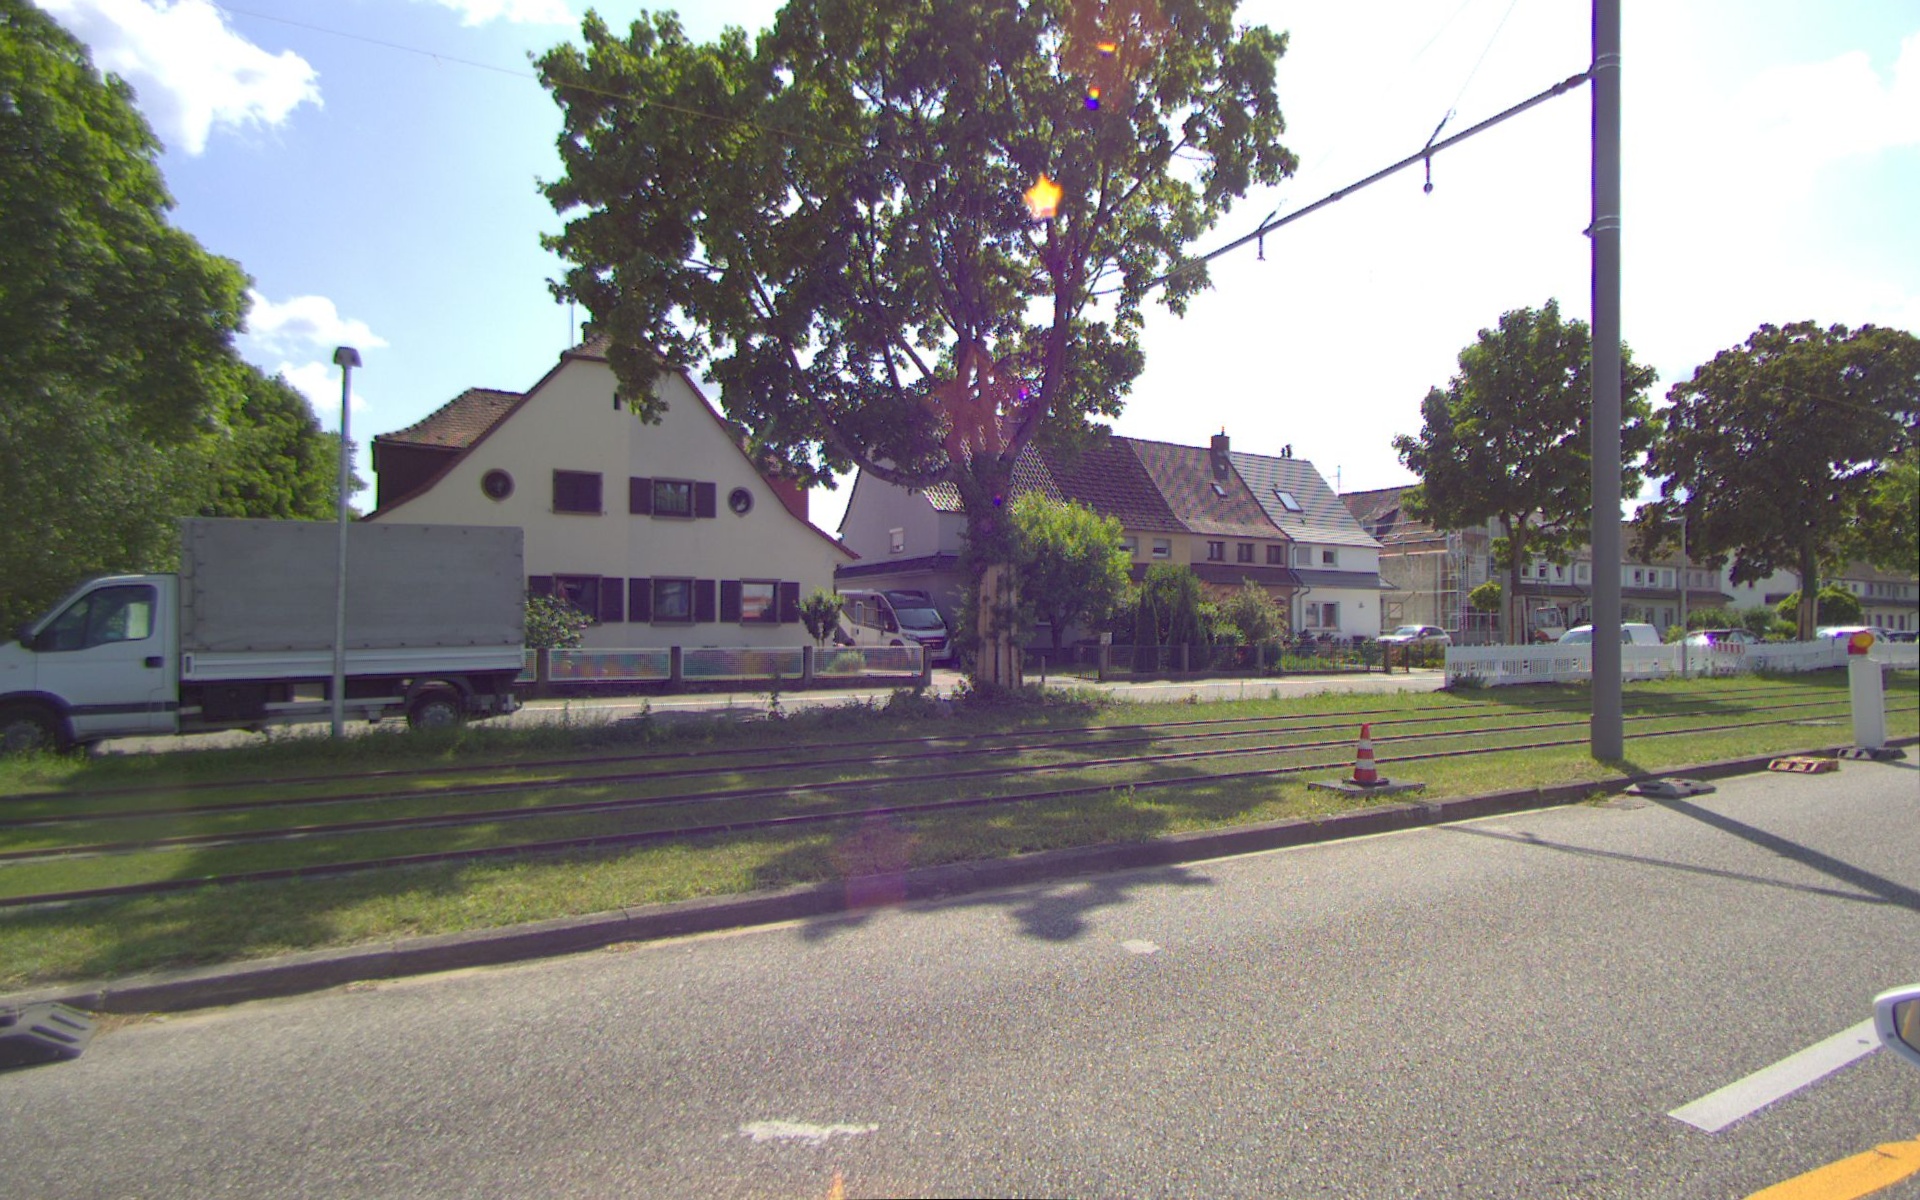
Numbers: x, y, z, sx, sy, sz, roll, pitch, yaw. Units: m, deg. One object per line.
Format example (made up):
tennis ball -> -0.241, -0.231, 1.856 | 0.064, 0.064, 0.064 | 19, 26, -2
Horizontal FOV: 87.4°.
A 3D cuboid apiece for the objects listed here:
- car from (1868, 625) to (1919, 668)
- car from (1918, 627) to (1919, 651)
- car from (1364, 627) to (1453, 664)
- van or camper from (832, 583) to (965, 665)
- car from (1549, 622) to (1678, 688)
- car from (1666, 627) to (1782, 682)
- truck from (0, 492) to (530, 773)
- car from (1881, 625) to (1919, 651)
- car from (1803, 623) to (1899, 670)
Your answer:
car -> 40.385, 1.958, 42.598 | 3.814, 1.762, 1.691 | 1, -2, -30
car -> 72.131, 2.843, 73.665 | 4.013, 1.762, 1.691 | 1, -2, -30
car -> 19.885, 1.990, 44.477 | 3.814, 1.614, 1.691 | 1, -2, -30
van or camper -> -2.355, 0.904, 36.647 | 2.224, 2.745, 5.963 | 1, -2, -33
car -> 19.497, 1.602, 29.957 | 3.814, 1.841, 1.691 | 1, -2, -30
car -> 25.742, 1.797, 33.824 | 4.006, 1.762, 1.691 | 1, -2, -30
truck -> -8.801, 0.411, 12.931 | 5.805, 3.027, 1.994 | 1, -2, -30
car -> 66.748, 2.679, 70.729 | 4.013, 1.762, 1.691 | 1, -2, -30
car -> 34.961, 1.800, 39.410 | 3.814, 1.762, 1.691 | 1, -2, -30
